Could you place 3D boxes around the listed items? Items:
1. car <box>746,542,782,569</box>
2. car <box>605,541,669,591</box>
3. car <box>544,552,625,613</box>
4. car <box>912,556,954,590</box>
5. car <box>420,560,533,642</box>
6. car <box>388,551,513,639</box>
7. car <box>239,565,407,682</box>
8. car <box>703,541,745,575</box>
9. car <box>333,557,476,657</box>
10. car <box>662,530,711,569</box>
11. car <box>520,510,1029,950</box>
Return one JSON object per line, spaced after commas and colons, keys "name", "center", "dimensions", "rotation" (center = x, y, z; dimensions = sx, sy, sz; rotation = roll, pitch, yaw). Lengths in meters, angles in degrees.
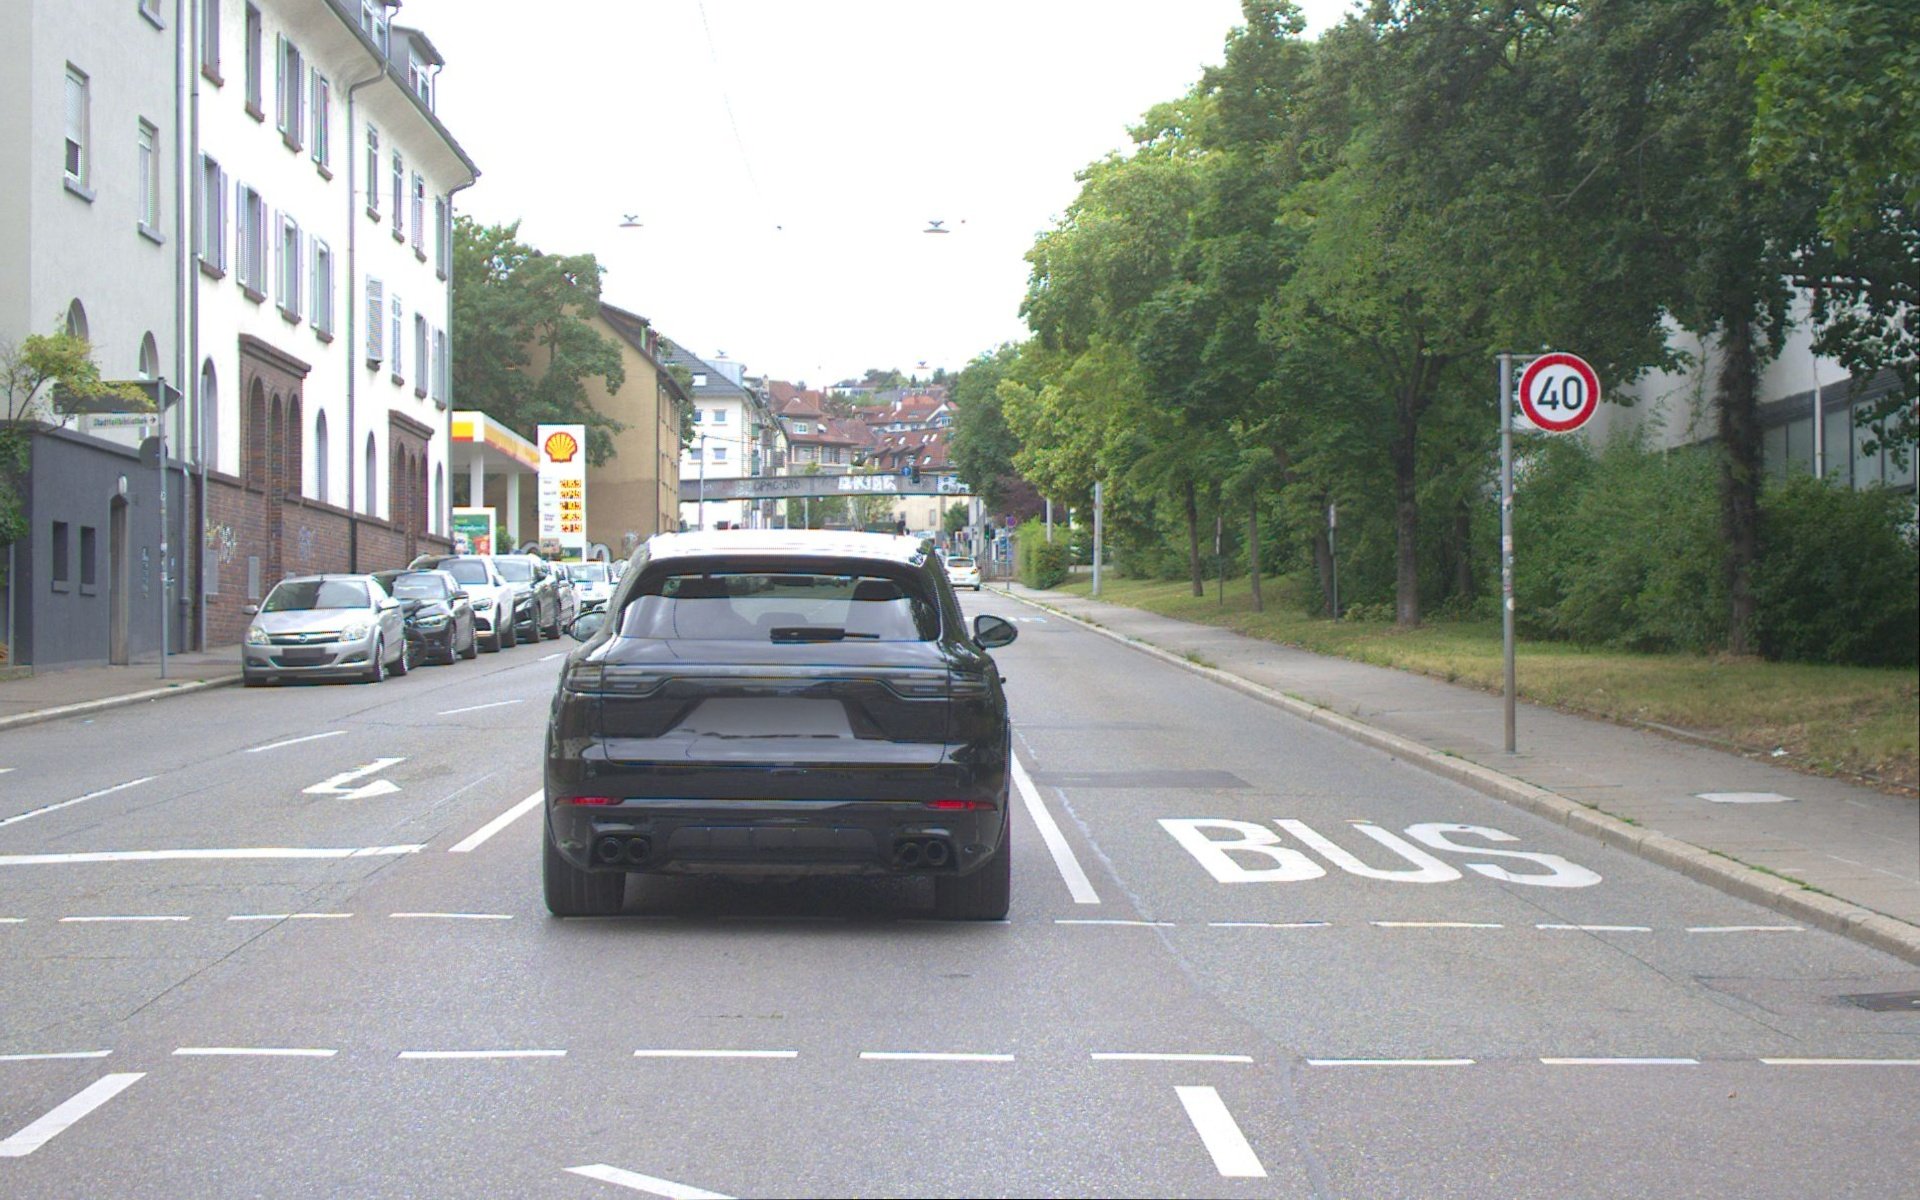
{"name": "car", "center": [-10.232, -2.331, 179.555], "dimensions": [1.670, 1.357, 4.001], "rotation": [0, 2, -1]}
{"name": "car", "center": [-9.432, -1.018, 100.639], "dimensions": [1.669, 1.357, 4.001], "rotation": [0, 2, -2]}
{"name": "car", "center": [-9.034, -0.447, 82.973], "dimensions": [1.669, 1.357, 4.001], "rotation": [0, 2, -2]}
{"name": "car", "center": [-1.192, -1.180, 148.816], "dimensions": [1.669, 1.357, 4.001], "rotation": [0, 2, -2]}
{"name": "car", "center": [-8.846, -0.008, 63.111], "dimensions": [1.669, 1.357, 4.001], "rotation": [0, 2, -2]}
{"name": "car", "center": [-8.557, -0.112, 57.988], "dimensions": [1.669, 1.357, 4.001], "rotation": [0, 2, -2]}
{"name": "car", "center": [-8.209, 0.271, 44.578], "dimensions": [1.669, 1.357, 4.001], "rotation": [0, 2, -4]}
{"name": "car", "center": [-10.164, -1.812, 148.323], "dimensions": [1.669, 1.357, 4.001], "rotation": [0, 2, -2]}
{"name": "car", "center": [-8.375, 0.076, 52.065], "dimensions": [1.669, 1.357, 4.001], "rotation": [0, 2, -2]}
{"name": "car", "center": [-10.096, -1.876, 127.083], "dimensions": [1.669, 1.357, 4.001], "rotation": [0, 2, -2]}
{"name": "car", "center": [-0.765, 0.467, 15.708], "dimensions": [1.993, 1.691, 4.001], "rotation": [1, 2, -1]}
